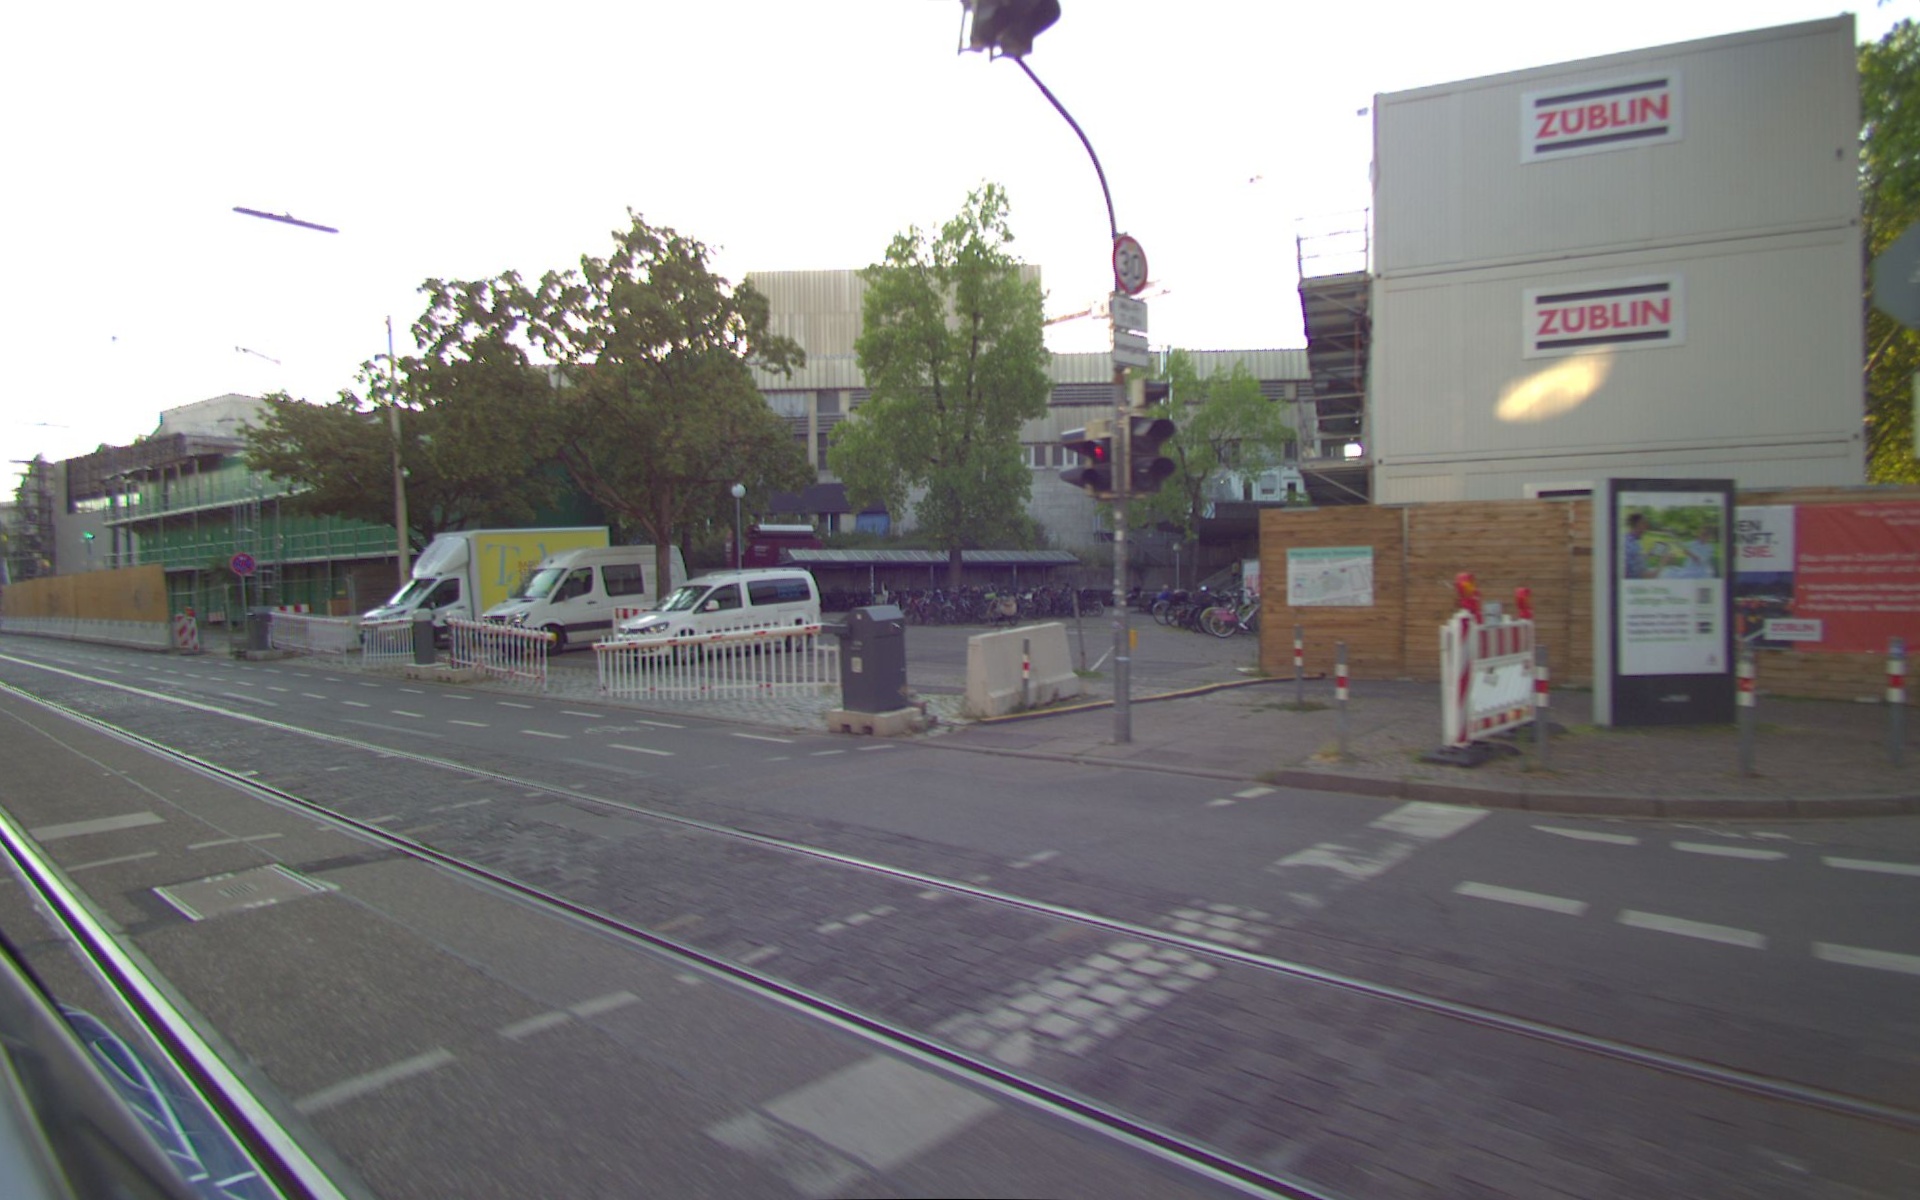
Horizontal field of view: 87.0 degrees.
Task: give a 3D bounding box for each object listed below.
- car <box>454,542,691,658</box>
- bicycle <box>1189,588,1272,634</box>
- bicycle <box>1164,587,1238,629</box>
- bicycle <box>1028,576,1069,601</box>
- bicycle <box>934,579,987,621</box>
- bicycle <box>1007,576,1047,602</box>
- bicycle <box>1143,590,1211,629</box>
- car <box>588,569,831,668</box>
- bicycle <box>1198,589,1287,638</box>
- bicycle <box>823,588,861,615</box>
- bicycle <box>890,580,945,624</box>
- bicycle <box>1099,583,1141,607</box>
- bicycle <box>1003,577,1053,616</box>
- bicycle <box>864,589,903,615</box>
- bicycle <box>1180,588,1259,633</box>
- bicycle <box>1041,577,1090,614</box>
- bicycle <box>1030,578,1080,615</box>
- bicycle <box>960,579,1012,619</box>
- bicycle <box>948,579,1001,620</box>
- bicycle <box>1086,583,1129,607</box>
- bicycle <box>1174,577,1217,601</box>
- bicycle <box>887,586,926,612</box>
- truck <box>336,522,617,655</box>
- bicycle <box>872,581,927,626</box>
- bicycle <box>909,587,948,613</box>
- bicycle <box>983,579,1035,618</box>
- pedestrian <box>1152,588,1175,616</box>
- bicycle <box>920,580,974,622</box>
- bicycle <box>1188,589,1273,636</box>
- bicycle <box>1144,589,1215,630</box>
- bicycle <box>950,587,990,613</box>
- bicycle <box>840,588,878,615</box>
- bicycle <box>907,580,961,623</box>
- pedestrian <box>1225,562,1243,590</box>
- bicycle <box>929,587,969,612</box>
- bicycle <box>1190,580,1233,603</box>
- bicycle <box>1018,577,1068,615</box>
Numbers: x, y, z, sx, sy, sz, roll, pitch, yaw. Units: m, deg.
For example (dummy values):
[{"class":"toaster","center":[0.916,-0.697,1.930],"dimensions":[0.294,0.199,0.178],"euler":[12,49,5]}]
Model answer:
[{"class":"car","center":[-9.650,-0.046,25.605],"dimensions":[2.226,2.616,5.171],"euler":[-2,0,37]},{"class":"bicycle","center":[6.818,0.286,25.588],"dimensions":[1.956,1.114,0.541],"euler":[-1,0,12]},{"class":"bicycle","center":[6.663,0.225,28.054],"dimensions":[1.956,1.114,0.541],"euler":[-1,0,12]},{"class":"bicycle","center":[4.356,-0.570,50.101],"dimensions":[0.799,1.190,2.271],"euler":[-2,0,-32]},{"class":"bicycle","center":[0.003,0.015,34.303],"dimensions":[0.535,1.379,1.978],"euler":[-2,1,-45]},{"class":"bicycle","center":[3.301,-0.541,50.141],"dimensions":[0.799,1.190,2.271],"euler":[-2,0,-32]},{"class":"bicycle","center":[6.466,0.272,30.242],"dimensions":[1.956,1.114,0.541],"euler":[-1,0,12]},{"class":"car","center":[-5.284,0.309,21.891],"dimensions":[2.015,1.887,4.781],"euler":[-2,0,42]},{"class":"bicycle","center":[6.666,0.315,23.952],"dimensions":[1.956,1.114,0.541],"euler":[-1,0,12]},{"class":"bicycle","center":[-5.433,0.088,46.389],"dimensions":[0.799,1.190,2.271],"euler":[-2,0,-32]},{"class":"bicycle","center":[-1.393,0.072,32.831],"dimensions":[0.535,1.379,1.978],"euler":[-2,1,-45]},{"class":"bicycle","center":[8.222,-0.262,52.065],"dimensions":[0.799,1.190,2.271],"euler":[-2,0,-32]},{"class":"bicycle","center":[2.505,-0.119,37.477],"dimensions":[0.535,1.379,1.978],"euler":[-2,1,-45]},{"class":"bicycle","center":[-3.605,0.099,47.301],"dimensions":[0.799,1.190,2.271],"euler":[-2,0,-32]},{"class":"bicycle","center":[6.751,0.268,26.396],"dimensions":[1.956,1.114,0.541],"euler":[-1,0,12]},{"class":"bicycle","center":[4.064,-0.154,39.162],"dimensions":[0.535,1.379,1.978],"euler":[-2,1,-45]},{"class":"bicycle","center":[3.613,-0.139,38.688],"dimensions":[0.535,1.379,1.978],"euler":[-2,1,-45]},{"class":"bicycle","center":[0.901,-0.024,35.282],"dimensions":[0.535,1.379,1.978],"euler":[-2,1,-45]},{"class":"bicycle","center":[0.483,-0.002,34.748],"dimensions":[0.535,1.379,1.978],"euler":[-2,1,-45]},{"class":"bicycle","center":[7.471,-0.244,51.376],"dimensions":[0.799,1.190,2.271],"euler":[-2,0,-32]},{"class":"bicycle","center":[12.494,-0.562,53.779],"dimensions":[0.799,1.190,2.271],"euler":[-2,0,-32]},{"class":"bicycle","center":[-2.529,-0.030,47.657],"dimensions":[0.799,1.190,2.271],"euler":[-2,0,-32]},{"class":"truck","center":[-13.921,-0.358,29.722],"dimensions":[2.562,3.454,6.992],"euler":[-2,0,37]},{"class":"bicycle","center":[-1.949,0.112,32.363],"dimensions":[0.535,1.379,1.978],"euler":[-2,1,-45]},{"class":"bicycle","center":[-1.505,-0.008,48.224],"dimensions":[0.799,1.190,2.271],"euler":[-2,0,-32]},{"class":"bicycle","center":[1.761,-0.056,36.529],"dimensions":[0.535,1.379,1.978],"euler":[-2,1,-45]},{"class":"pedestrian","center":[8.109,0.070,40.263],"dimensions":[0.630,1.079,0.753],"euler":[-1,0,37]},{"class":"bicycle","center":[-0.446,0.039,33.793],"dimensions":[0.535,1.379,1.978],"euler":[-2,1,-45]},{"class":"bicycle","center":[6.643,0.302,24.935],"dimensions":[1.956,1.114,0.541],"euler":[-1,0,12]},{"class":"bicycle","center":[6.348,0.275,29.286],"dimensions":[1.956,1.114,0.541],"euler":[-1,0,12]},{"class":"bicycle","center":[0.452,0.004,48.853],"dimensions":[0.799,1.190,2.271],"euler":[-2,0,-32]},{"class":"bicycle","center":[-4.698,0.064,46.880],"dimensions":[0.799,1.190,2.271],"euler":[-2,0,-32]},{"class":"bicycle","center":[-0.873,0.061,33.368],"dimensions":[0.535,1.379,1.978],"euler":[-2,1,-45]},{"class":"pedestrian","center":[14.340,-1.277,52.955],"dimensions":[0.630,1.434,0.753],"euler":[-1,0,37]},{"class":"bicycle","center":[-0.536,-0.018,48.626],"dimensions":[0.799,1.190,2.271],"euler":[-2,0,-32]},{"class":"bicycle","center":[13.443,-0.444,54.236],"dimensions":[0.799,1.190,2.271],"euler":[-2,0,-32]},{"class":"bicycle","center":[3.110,-0.148,38.156],"dimensions":[0.535,1.379,1.978],"euler":[-2,1,-45]}]
